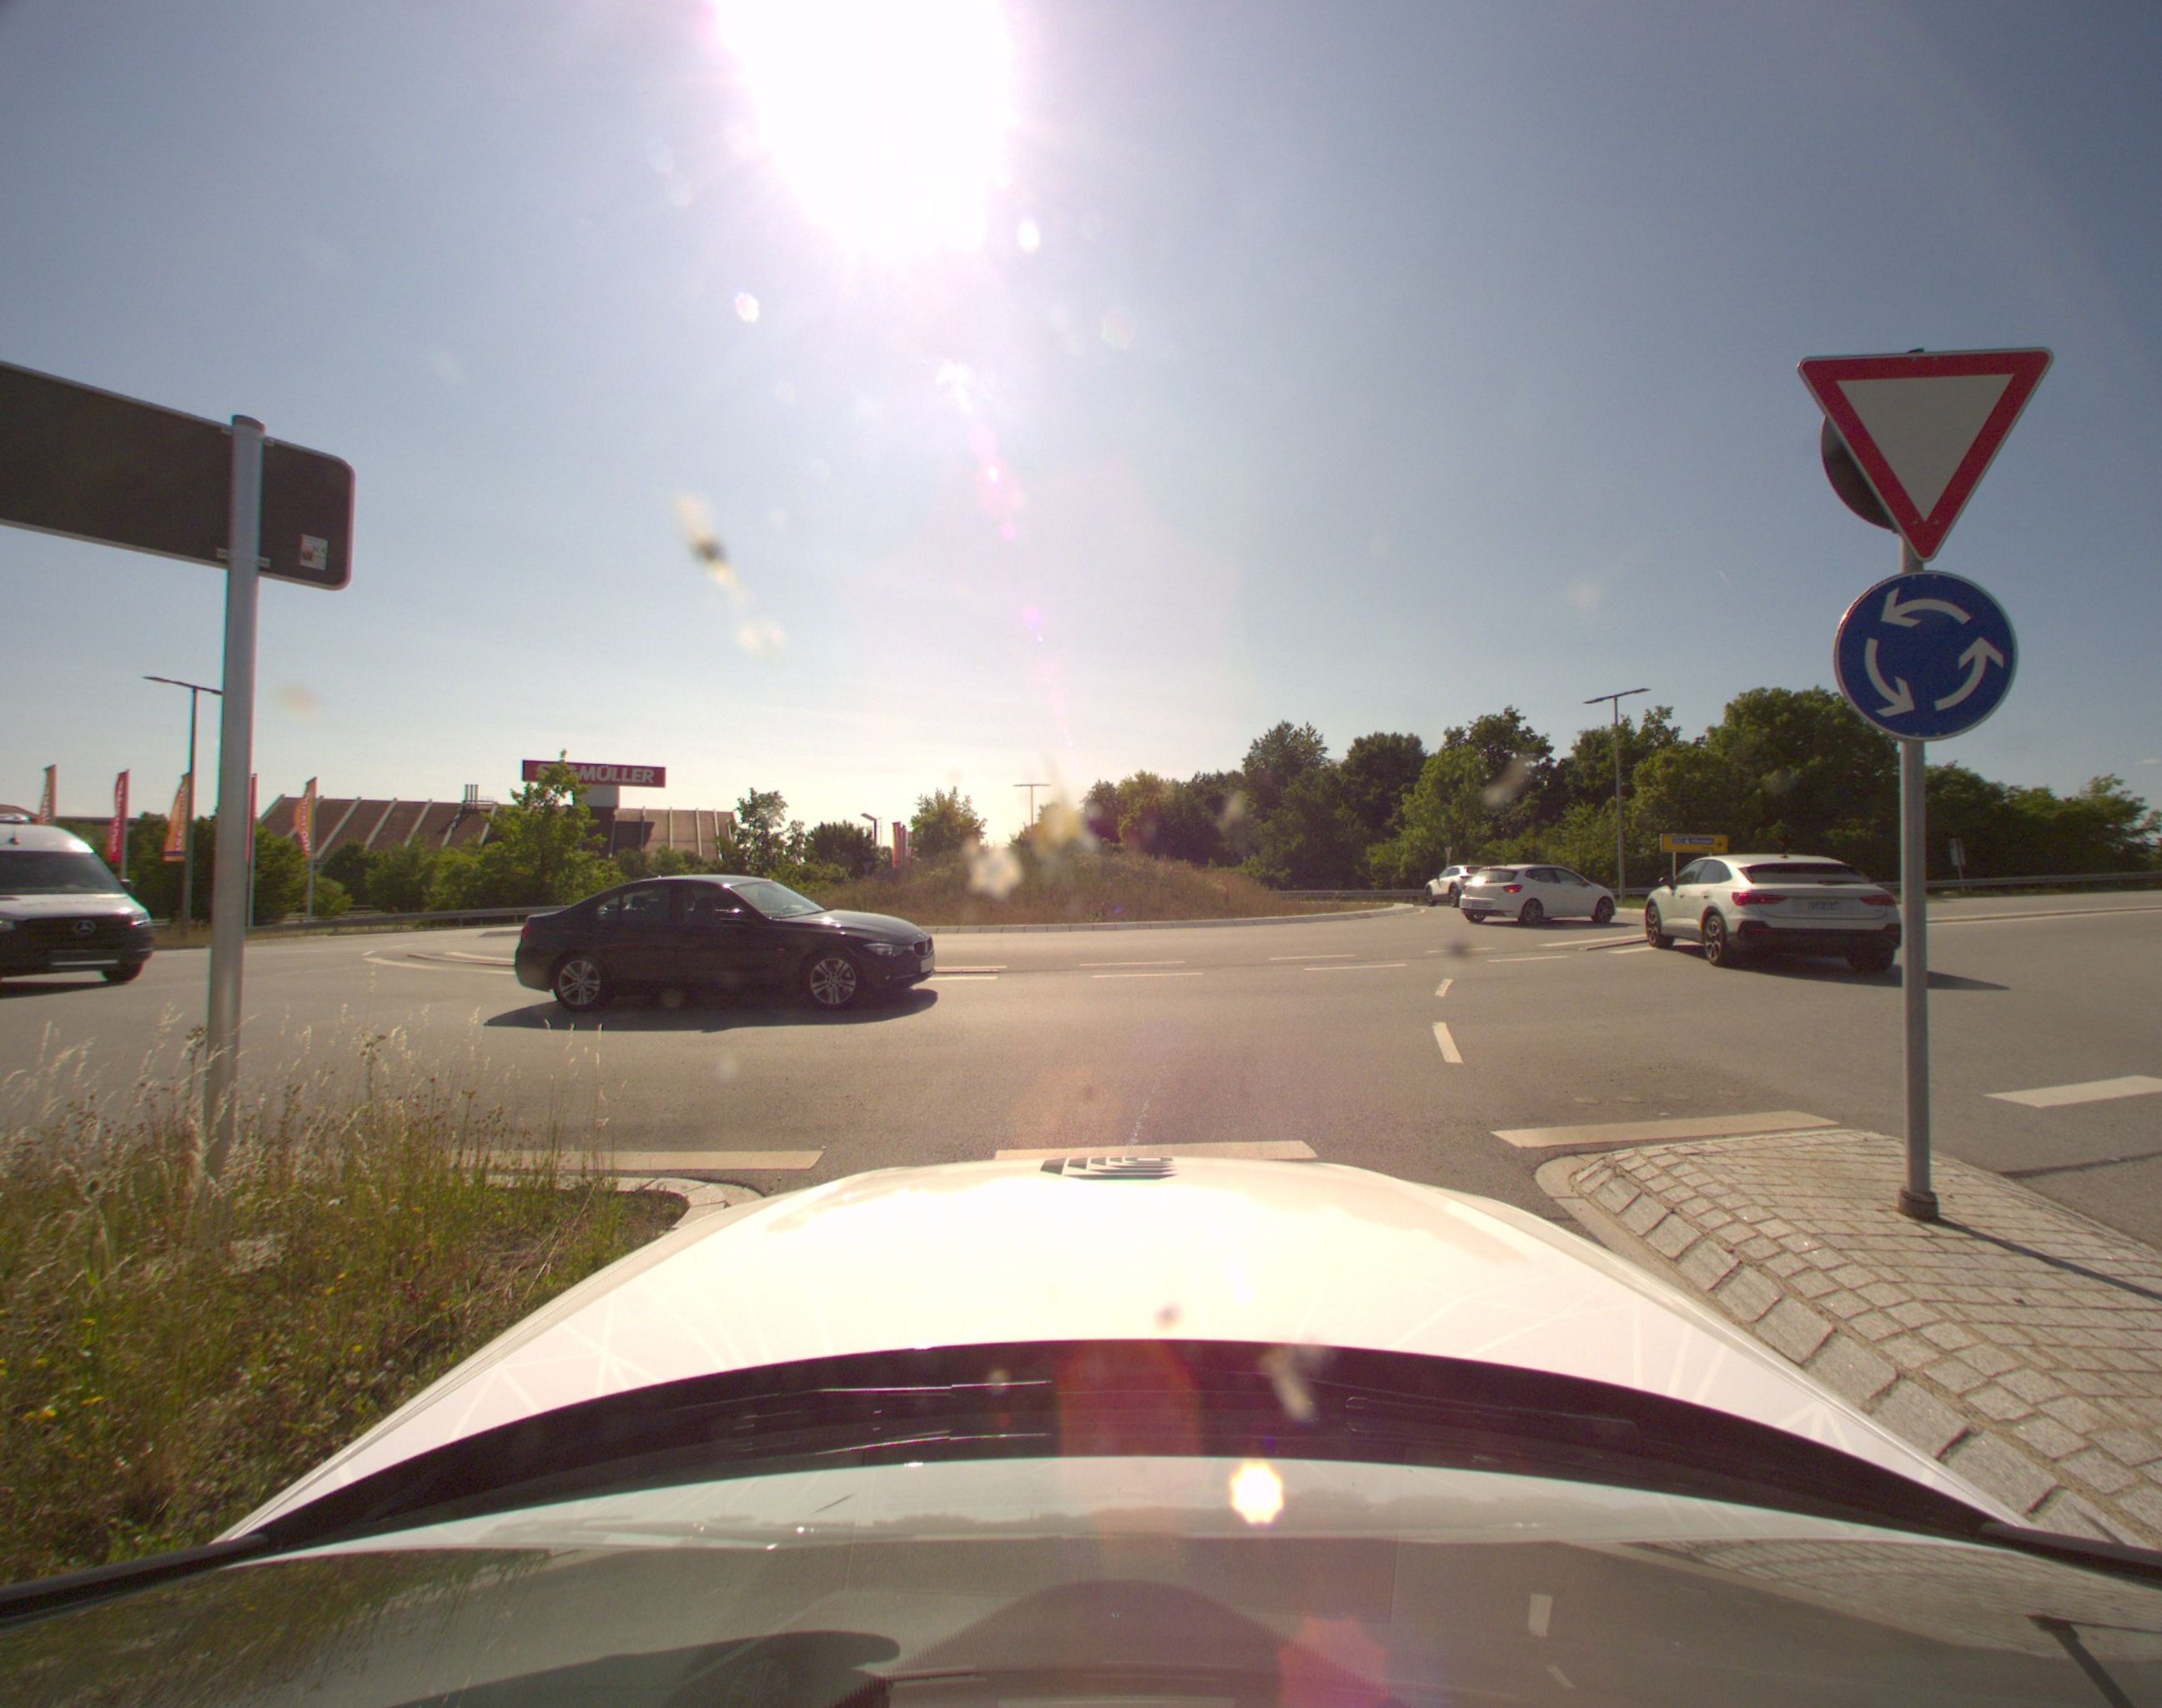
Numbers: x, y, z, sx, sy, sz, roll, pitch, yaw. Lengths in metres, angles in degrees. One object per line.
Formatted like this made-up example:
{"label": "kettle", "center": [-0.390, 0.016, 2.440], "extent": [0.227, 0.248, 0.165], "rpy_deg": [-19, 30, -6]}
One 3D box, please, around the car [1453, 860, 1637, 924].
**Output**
{"label": "car", "center": [11.324, 0.871, 19.829], "extent": [4.426, 1.405, 1.776], "rpy_deg": [1, -1, -27]}

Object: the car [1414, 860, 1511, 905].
{"label": "car", "center": [14.127, 1.077, 30.429], "extent": [1.778, 1.530, 4.291], "rpy_deg": [-1, -2, 3]}

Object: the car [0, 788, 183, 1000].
{"label": "car", "center": [-17.631, 0.707, 12.899], "extent": [6.071, 2.921, 2.093], "rpy_deg": [-3, -2, 16]}

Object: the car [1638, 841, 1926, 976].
{"label": "car", "center": [9.924, 0.686, 12.015], "extent": [1.825, 1.596, 4.347], "rpy_deg": [-1, -1, 21]}

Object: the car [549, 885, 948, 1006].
{"label": "car", "center": [-3.630, 0.966, 9.273], "extent": [3.832, 1.182, 1.679], "rpy_deg": [0, -1, 6]}
